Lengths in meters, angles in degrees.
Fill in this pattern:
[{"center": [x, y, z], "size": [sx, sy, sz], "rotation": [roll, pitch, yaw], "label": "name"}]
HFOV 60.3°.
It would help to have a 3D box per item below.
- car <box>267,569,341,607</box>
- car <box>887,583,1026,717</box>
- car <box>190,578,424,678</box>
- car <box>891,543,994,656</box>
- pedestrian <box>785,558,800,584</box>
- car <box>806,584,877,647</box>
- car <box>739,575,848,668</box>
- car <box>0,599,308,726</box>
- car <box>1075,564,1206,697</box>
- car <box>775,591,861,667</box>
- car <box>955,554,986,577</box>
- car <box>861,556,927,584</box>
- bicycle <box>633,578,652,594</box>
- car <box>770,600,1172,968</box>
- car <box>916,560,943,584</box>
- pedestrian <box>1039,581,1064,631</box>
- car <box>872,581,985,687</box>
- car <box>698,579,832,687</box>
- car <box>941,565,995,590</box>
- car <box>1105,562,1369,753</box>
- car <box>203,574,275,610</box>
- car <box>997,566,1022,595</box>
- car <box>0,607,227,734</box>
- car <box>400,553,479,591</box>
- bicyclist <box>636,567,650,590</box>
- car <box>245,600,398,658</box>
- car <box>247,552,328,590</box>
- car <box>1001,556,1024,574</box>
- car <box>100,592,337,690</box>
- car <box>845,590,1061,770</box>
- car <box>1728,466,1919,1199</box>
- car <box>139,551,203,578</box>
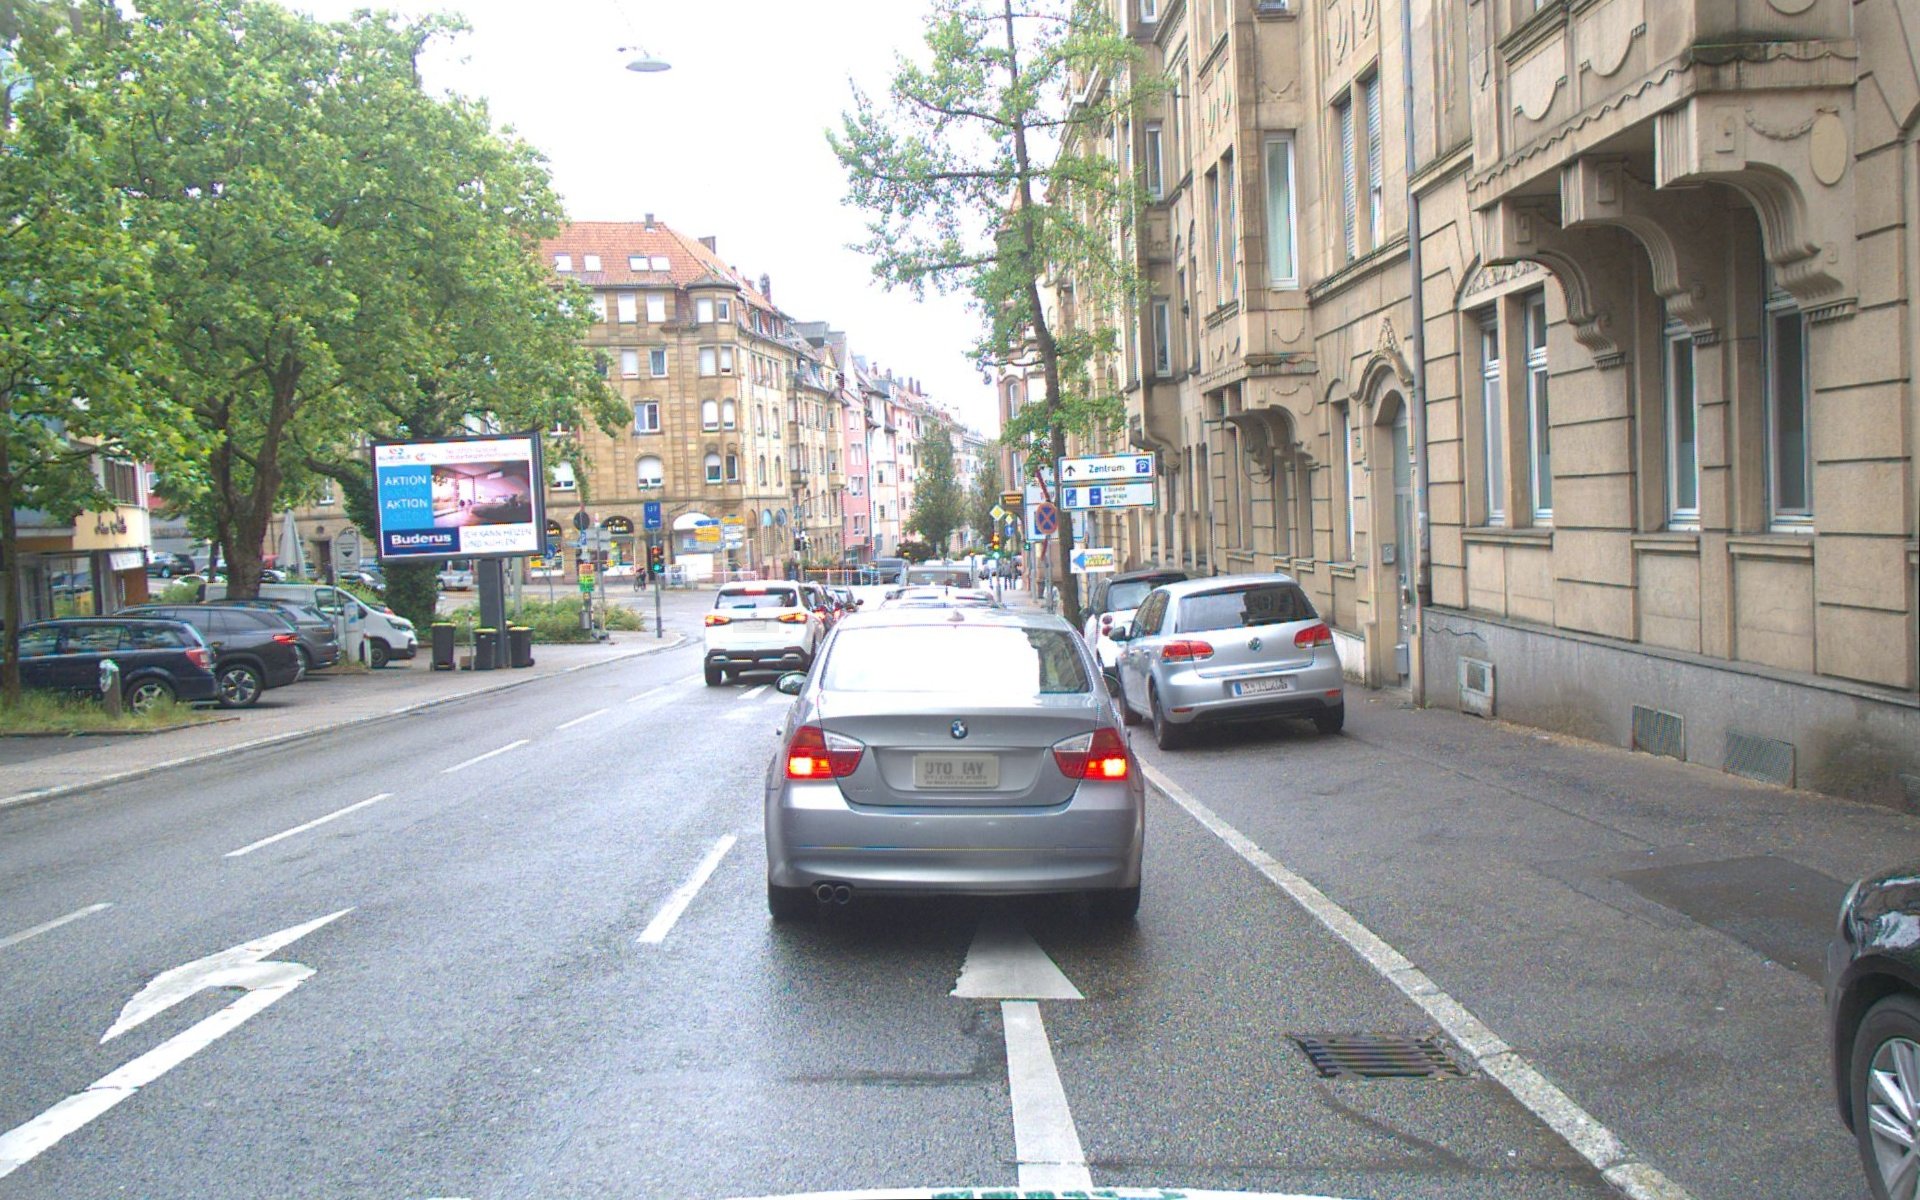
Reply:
[{"center": [-40.194, -0.764, 101.339], "size": [4.196, 2.138, 1.998], "rotation": [2, 2, 28], "label": "car"}, {"center": [-0.032, 0.548, 20.774], "size": [1.562, 1.490, 4.000], "rotation": [1, 1, 0], "label": "car"}, {"center": [-15.392, 0.631, 39.209], "size": [4.989, 2.142, 1.979], "rotation": [-2, 0, -22], "label": "car"}, {"center": [-0.356, -0.011, 33.477], "size": [1.953, 2.143, 3.999], "rotation": [0, 0, -1], "label": "car"}, {"center": [-10.247, -1.775, 101.222], "size": [0.716, 1.605, 0.528], "rotation": [-1, 1, 8], "label": "pedestrian"}, {"center": [-3.413, 0.422, 48.263], "size": [1.723, 1.737, 4.000], "rotation": [-1, 1, 0], "label": "car"}, {"center": [-3.276, 0.377, 33.191], "size": [1.723, 1.737, 4.000], "rotation": [-1, 1, 0], "label": "car"}, {"center": [-12.869, 0.952, 26.655], "size": [4.308, 1.701, 1.842], "rotation": [-3, 1, -24], "label": "car"}, {"center": [2.413, 0.376, 22.671], "size": [1.273, 1.569, 2.975], "rotation": [-6, 1, -1], "label": "car"}, {"center": [-3.424, 0.660, 40.406], "size": [1.723, 1.737, 4.000], "rotation": [-1, 1, 0], "label": "car"}, {"center": [0.795, -2.505, 120.608], "size": [1.951, 1.606, 4.002], "rotation": [1, 0, 5], "label": "car"}, {"center": [-5.170, -2.349, 129.790], "size": [5.072, 2.049, 2.698], "rotation": [1, 0, -1], "label": "car"}, {"center": [-18.434, -0.808, 96.141], "size": [0.561, 0.873, 1.523], "rotation": [1, 0, 9], "label": "bicycle"}, {"center": [0.054, 0.737, 8.413], "size": [1.590, 1.407, 3.615], "rotation": [-1, 1, 0], "label": "car"}, {"center": [-1.948, -1.767, 104.805], "size": [1.680, 1.476, 3.741], "rotation": [-2, 0, -1], "label": "car"}, {"center": [2.941, 0.189, 53.061], "size": [0.618, 1.534, 0.693], "rotation": [-6, 0, -2], "label": "pedestrian"}, {"center": [-0.471, 0.498, 27.341], "size": [1.723, 1.594, 4.000], "rotation": [-1, 1, 0], "label": "car"}, {"center": [-3.183, 0.491, 27.700], "size": [1.830, 1.654, 3.999], "rotation": [-1, 0, -1], "label": "car"}, {"center": [0.552, -1.540, 113.984], "size": [1.957, 1.606, 3.991], "rotation": [1, 0, 31], "label": "car"}, {"center": [2.577, 0.478, 16.313], "size": [1.725, 1.476, 3.999], "rotation": [-6, 1, -1], "label": "car"}, {"center": [-45.261, -0.529, 103.806], "size": [4.196, 2.138, 1.998], "rotation": [2, 2, 28], "label": "car"}, {"center": [3.738, -1.491, 124.839], "size": [1.652, 2.048, 3.999], "rotation": [-3, 1, -1], "label": "car"}, {"center": [-13.004, 1.012, 23.913], "size": [4.299, 1.601, 1.929], "rotation": [-3, 1, -24], "label": "car"}, {"center": [-30.255, -1.653, 96.172], "size": [4.196, 2.138, 1.998], "rotation": [2, 2, 28], "label": "car"}, {"center": [-18.444, -1.239, 96.113], "size": [0.556, 1.295, 0.690], "rotation": [1, -1, 11], "label": "bicyclist"}, {"center": [-17.937, 0.791, 46.567], "size": [3.916, 1.475, 1.757], "rotation": [-2, 0, -22], "label": "car"}, {"center": [-39.312, -1.686, 96.719], "size": [3.902, 2.048, 2.002], "rotation": [-3, 1, 16], "label": "car"}, {"center": [3.677, -2.451, 116.260], "size": [1.405, 1.195, 3.433], "rotation": [1, 0, -2], "label": "car"}, {"center": [-15.123, 0.803, 34.002], "size": [4.295, 1.815, 1.927], "rotation": [-2, 0, -22], "label": "car"}, {"center": [-0.044, 0.632, 15.332], "size": [1.723, 1.407, 4.000], "rotation": [-1, 1, 0], "label": "car"}, {"center": [2.824, 0.491, 2.012], "size": [1.724, 1.679, 4.098], "rotation": [-6, 1, 0], "label": "car"}, {"center": [-51.004, -2.286, 106.911], "size": [3.909, 1.718, 1.726], "rotation": [1, 0, 27], "label": "car"}]
